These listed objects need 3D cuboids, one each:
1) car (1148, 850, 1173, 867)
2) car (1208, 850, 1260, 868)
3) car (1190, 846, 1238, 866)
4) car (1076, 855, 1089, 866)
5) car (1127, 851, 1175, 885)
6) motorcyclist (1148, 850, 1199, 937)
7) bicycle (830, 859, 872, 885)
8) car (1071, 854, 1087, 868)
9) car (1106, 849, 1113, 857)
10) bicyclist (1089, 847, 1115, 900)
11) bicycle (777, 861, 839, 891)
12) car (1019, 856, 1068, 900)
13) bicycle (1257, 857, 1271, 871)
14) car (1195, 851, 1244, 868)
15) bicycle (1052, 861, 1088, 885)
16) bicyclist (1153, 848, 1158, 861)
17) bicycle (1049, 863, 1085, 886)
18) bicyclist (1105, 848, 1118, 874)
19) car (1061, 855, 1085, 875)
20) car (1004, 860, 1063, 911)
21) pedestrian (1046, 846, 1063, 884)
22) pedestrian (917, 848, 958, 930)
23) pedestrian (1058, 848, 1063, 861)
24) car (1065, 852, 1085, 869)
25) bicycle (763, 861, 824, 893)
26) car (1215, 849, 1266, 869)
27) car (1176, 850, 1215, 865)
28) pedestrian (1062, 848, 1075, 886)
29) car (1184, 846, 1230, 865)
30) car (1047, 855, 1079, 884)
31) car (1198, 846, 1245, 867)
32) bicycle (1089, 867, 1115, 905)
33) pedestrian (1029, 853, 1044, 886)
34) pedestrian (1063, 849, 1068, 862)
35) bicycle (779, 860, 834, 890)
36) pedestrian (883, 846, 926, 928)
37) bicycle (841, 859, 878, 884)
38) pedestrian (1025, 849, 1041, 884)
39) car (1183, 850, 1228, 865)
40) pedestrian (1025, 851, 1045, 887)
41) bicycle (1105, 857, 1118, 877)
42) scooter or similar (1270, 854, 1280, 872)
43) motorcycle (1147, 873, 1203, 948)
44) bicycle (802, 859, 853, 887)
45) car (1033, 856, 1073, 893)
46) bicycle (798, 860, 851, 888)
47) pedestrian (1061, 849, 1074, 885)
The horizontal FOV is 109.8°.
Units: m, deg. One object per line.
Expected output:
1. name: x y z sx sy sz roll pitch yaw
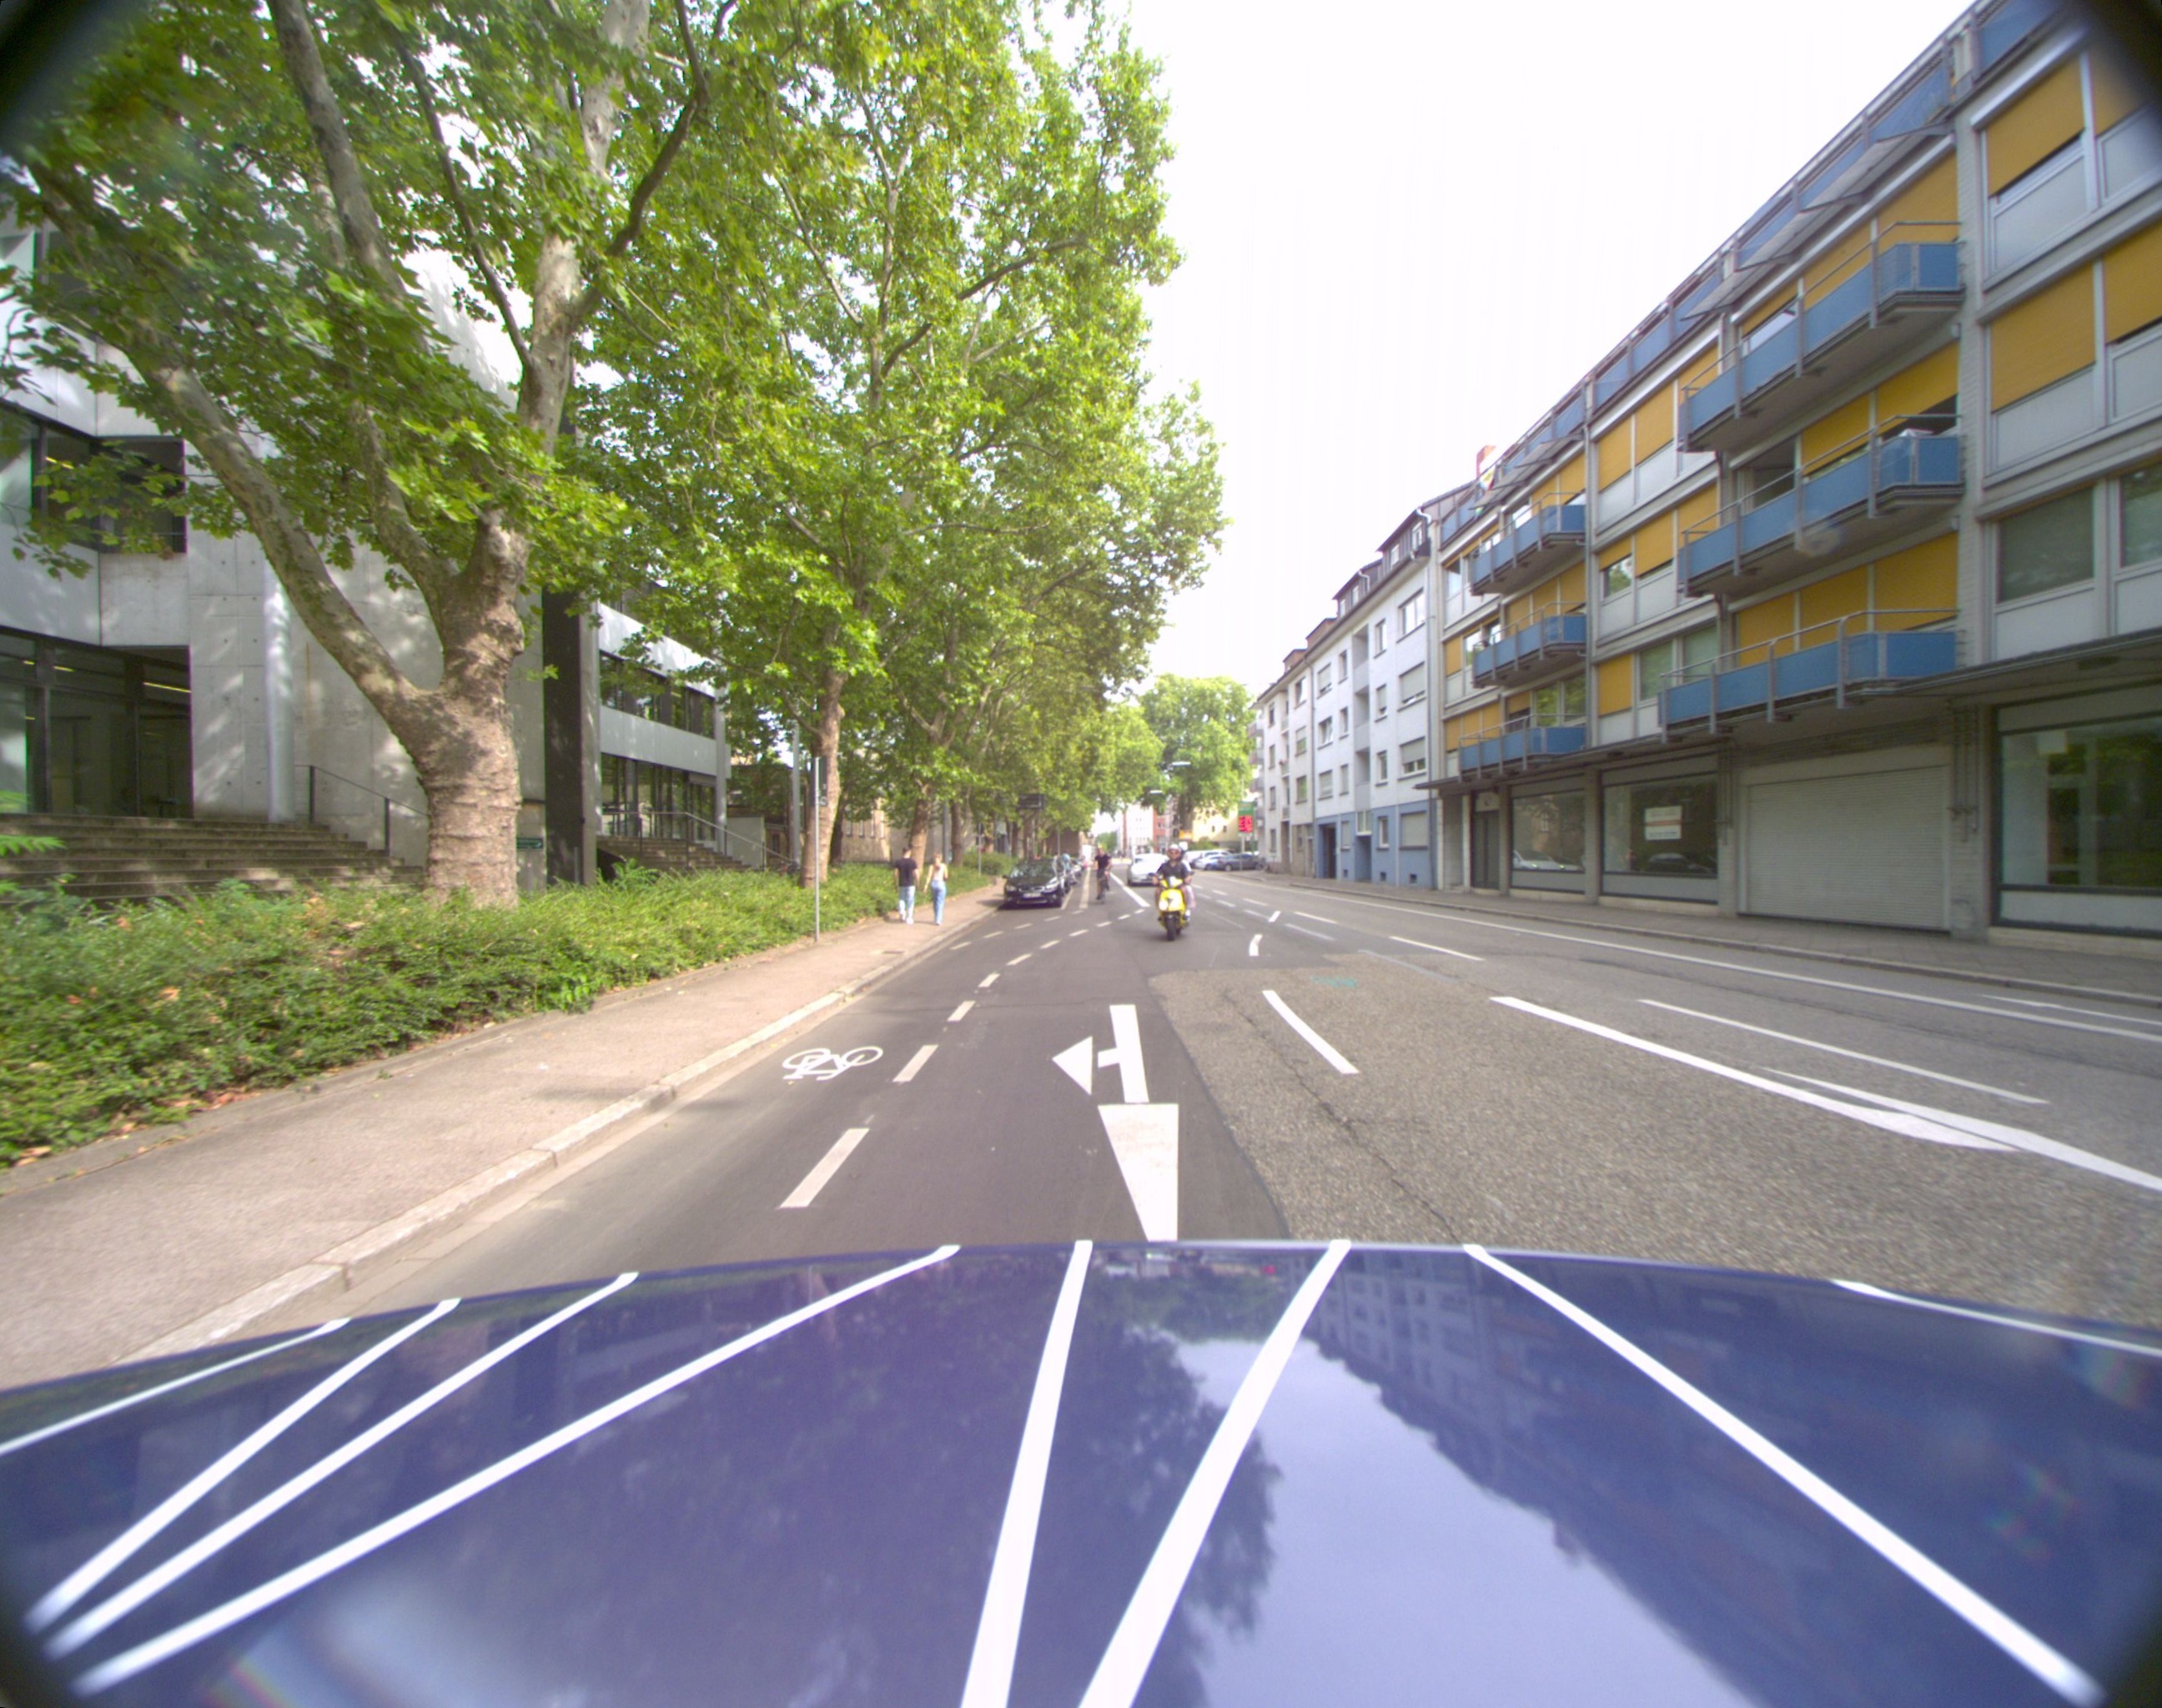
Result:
1. car: 7.033 0.392 67.312 1.762 1.419 4.098 1 0 0
2. car: 13.929 0.471 69.406 4.311 1.442 1.910 -3 0 1
3. car: 14.200 0.206 81.159 4.778 1.923 1.994 -3 0 2
4. car: 0.212 0.832 98.827 1.602 1.438 4.105 -3 0 1
5. car: 3.467 0.654 38.401 2.000 1.556 4.550 -1 0 0
6. motorcyclist: 1.732 0.726 14.332 0.904 1.608 0.691 -1 1 4
7. bicycle: -10.001 0.779 33.041 1.701 1.111 0.622 0 1 -18
8. car: -0.216 0.792 83.719 1.643 1.424 4.573 -3 0 1
9. car: 9.017 -0.399 242.851 1.998 2.546 4.799 -1 0 1
10. bicyclist: 0.701 0.634 25.045 0.764 1.699 0.917 -2 1 3
11. bicycle: -10.268 0.817 28.652 2.084 1.111 0.673 0 1 1
12. car: -1.414 0.880 29.195 1.539 1.534 2.599 -2 0 4
13. bicycle: 12.838 0.694 53.454 0.598 0.945 1.663 -2 0 1
14. car: 13.012 0.507 71.603 4.281 1.442 1.874 -3 0 1
15. bicycle: -0.580 0.987 39.937 1.796 1.210 0.552 -2 1 -16
16. bicyclist: 10.559 0.024 107.549 0.653 1.800 1.045 -2 1 1
17. bicycle: -0.716 1.060 38.669 1.740 1.099 0.552 -2 1 -10
18. bicyclist: 1.858 0.431 46.447 0.748 1.590 0.819 -2 1 1
19. car: -0.687 0.816 59.863 1.647 1.438 3.881 -3 0 -4
20. car: -1.489 0.962 25.034 1.702 1.417 4.421 -2 0 -2
21. pedestrian: -1.412 0.578 40.703 0.795 1.986 0.750 -2 1 1
22. pedestrian: -3.230 0.759 17.177 0.712 1.773 1.033 1 1 0
23. pedestrian: -2.819 0.074 104.629 0.643 1.823 0.645 3 1 0
24. car: -0.627 0.688 78.412 1.926 1.612 4.480 -3 0 -1
25. bicycle: -10.314 0.833 27.316 1.919 1.111 0.673 0 1 1
26. car: 14.045 0.445 67.071 4.161 1.504 1.837 -3 0 1
27. car: 14.275 0.405 95.003 4.529 1.596 1.754 -3 0 2
28. pedestrian: -0.647 0.641 38.933 0.476 1.923 0.744 -2 1 -10
29. car: 13.841 0.169 83.604 4.627 1.848 1.950 -3 0 2
30. car: -1.052 0.856 43.778 1.685 1.507 4.543 -3 0 -1
31. car: 13.692 0.266 74.395 4.221 1.837 1.924 -3 0 1
32. bicycle: 0.710 1.037 25.055 0.763 1.162 1.950 -2 0 3
33. pedestrian: -2.309 0.804 39.561 0.723 1.648 0.655 -2 1 1
34. pedestrian: -2.142 0.149 104.539 0.502 1.775 0.527 3 1 0
35. bicycle: -10.711 0.818 29.701 1.919 1.111 0.673 0 1 1
36. pedestrian: -3.981 0.722 17.246 0.717 1.790 1.033 1 1 0
37. bicycle: -10.113 0.781 34.674 1.544 1.111 0.468 0 1 -7
38. pedestrian: -2.552 0.670 40.711 0.723 1.844 0.703 -2 1 1
39. car: 14.099 0.418 86.068 4.716 1.461 1.874 -3 0 2
40. pedestrian: -2.344 0.747 38.782 0.873 1.806 0.780 -2 1 1
41. bicycle: 1.858 0.799 46.444 0.763 1.162 1.950 -2 0 1
42. scooter or similar: 12.979 0.584 50.745 0.350 1.214 1.202 -2 0 1
43. motorcycle: 1.730 1.006 14.333 0.904 1.190 2.631 -1 0 4
44. bicycle: -10.594 0.792 31.810 1.919 1.111 0.673 0 1 1
45. car: -1.222 0.881 34.128 1.532 1.493 3.660 -2 0 1
46. bicycle: -10.346 0.797 30.719 1.919 1.111 0.673 0 1 1
47. pedestrian: -0.719 0.674 40.209 0.522 1.834 0.744 -2 1 -14
